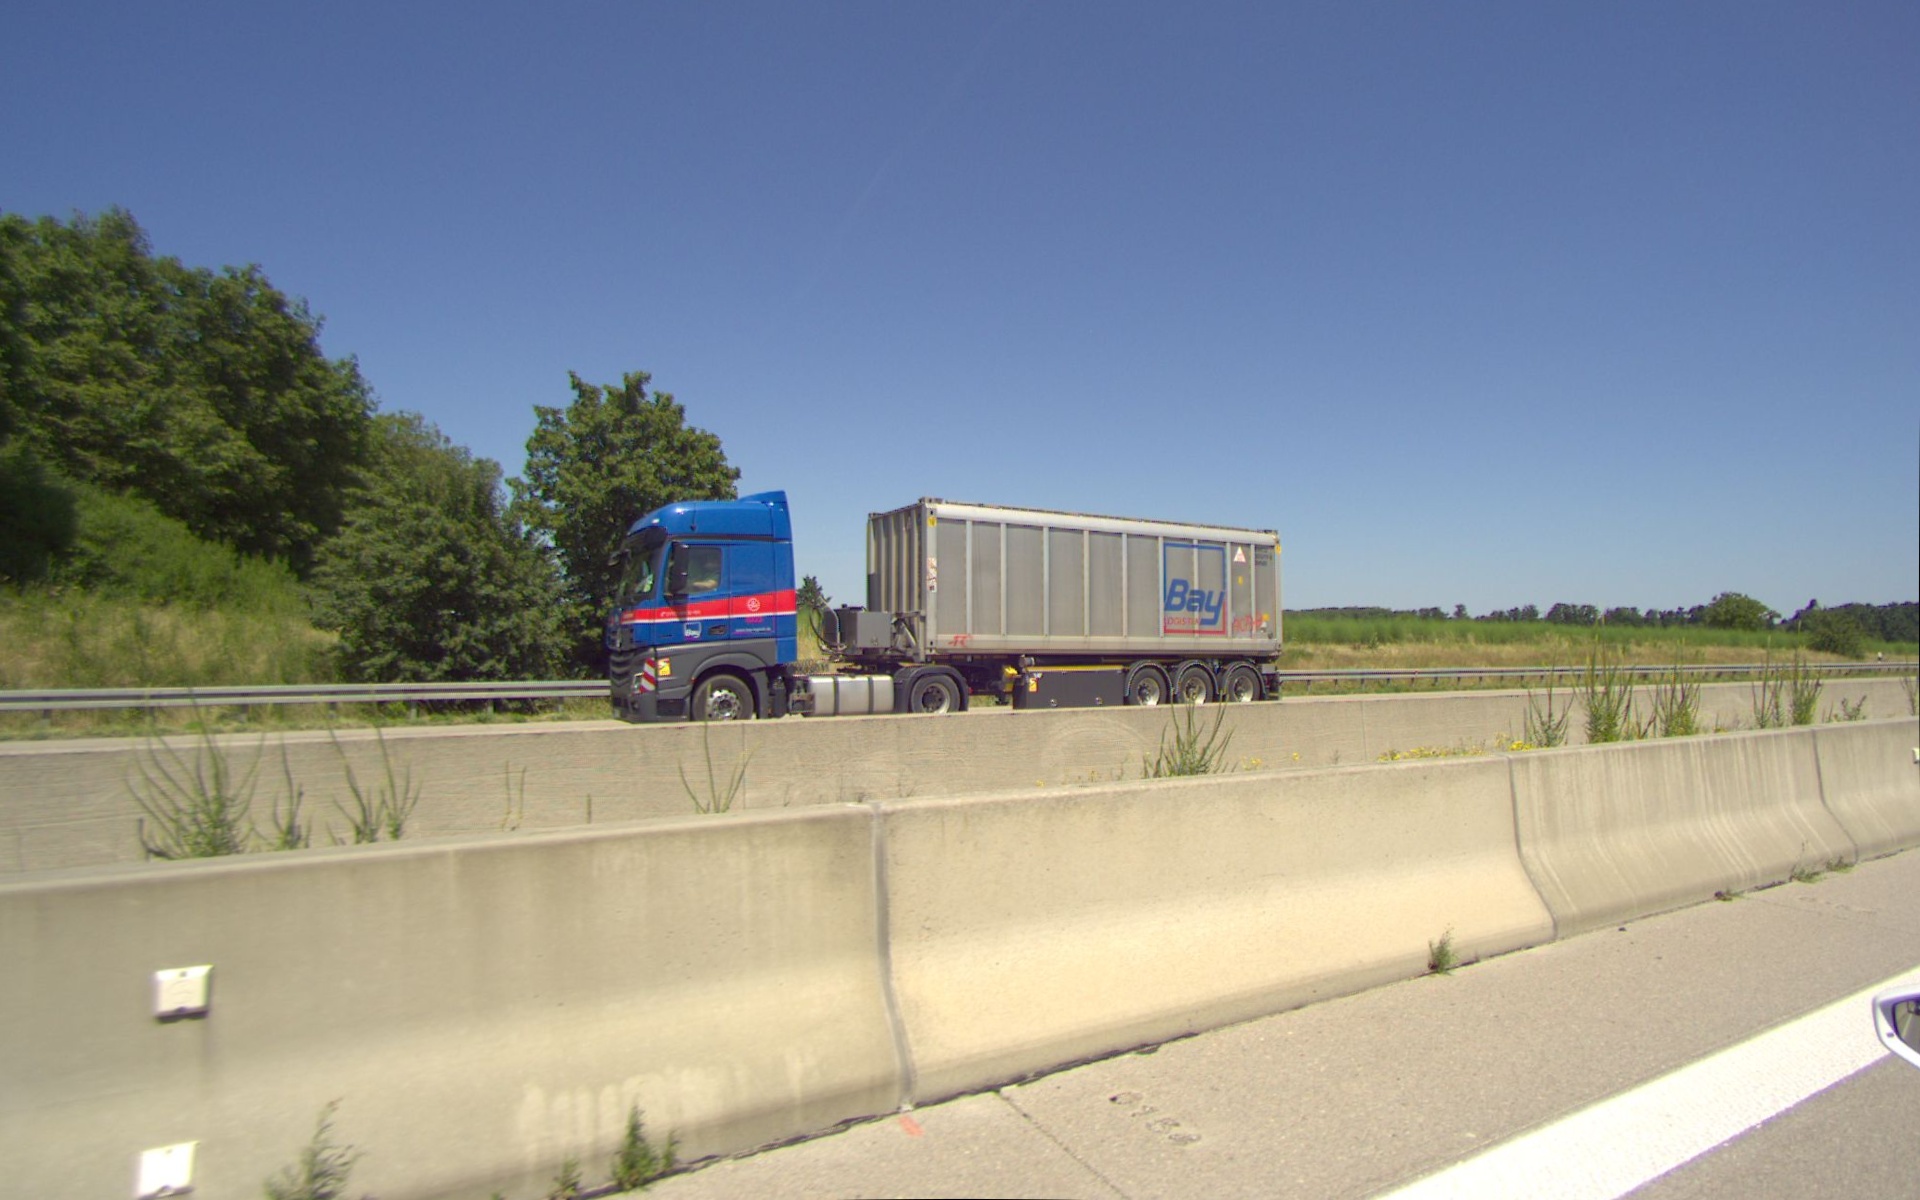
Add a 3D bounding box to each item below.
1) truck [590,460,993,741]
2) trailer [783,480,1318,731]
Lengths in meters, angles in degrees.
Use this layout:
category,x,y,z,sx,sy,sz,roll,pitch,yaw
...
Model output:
category,x,y,z,sx,sy,sz,roll,pitch,yaw
truck,-2.885,0.150,17.704,6.390,4.143,2.968,2,-3,-31
trailer,2.291,0.314,20.783,11.470,4.143,2.968,2,-4,-31
